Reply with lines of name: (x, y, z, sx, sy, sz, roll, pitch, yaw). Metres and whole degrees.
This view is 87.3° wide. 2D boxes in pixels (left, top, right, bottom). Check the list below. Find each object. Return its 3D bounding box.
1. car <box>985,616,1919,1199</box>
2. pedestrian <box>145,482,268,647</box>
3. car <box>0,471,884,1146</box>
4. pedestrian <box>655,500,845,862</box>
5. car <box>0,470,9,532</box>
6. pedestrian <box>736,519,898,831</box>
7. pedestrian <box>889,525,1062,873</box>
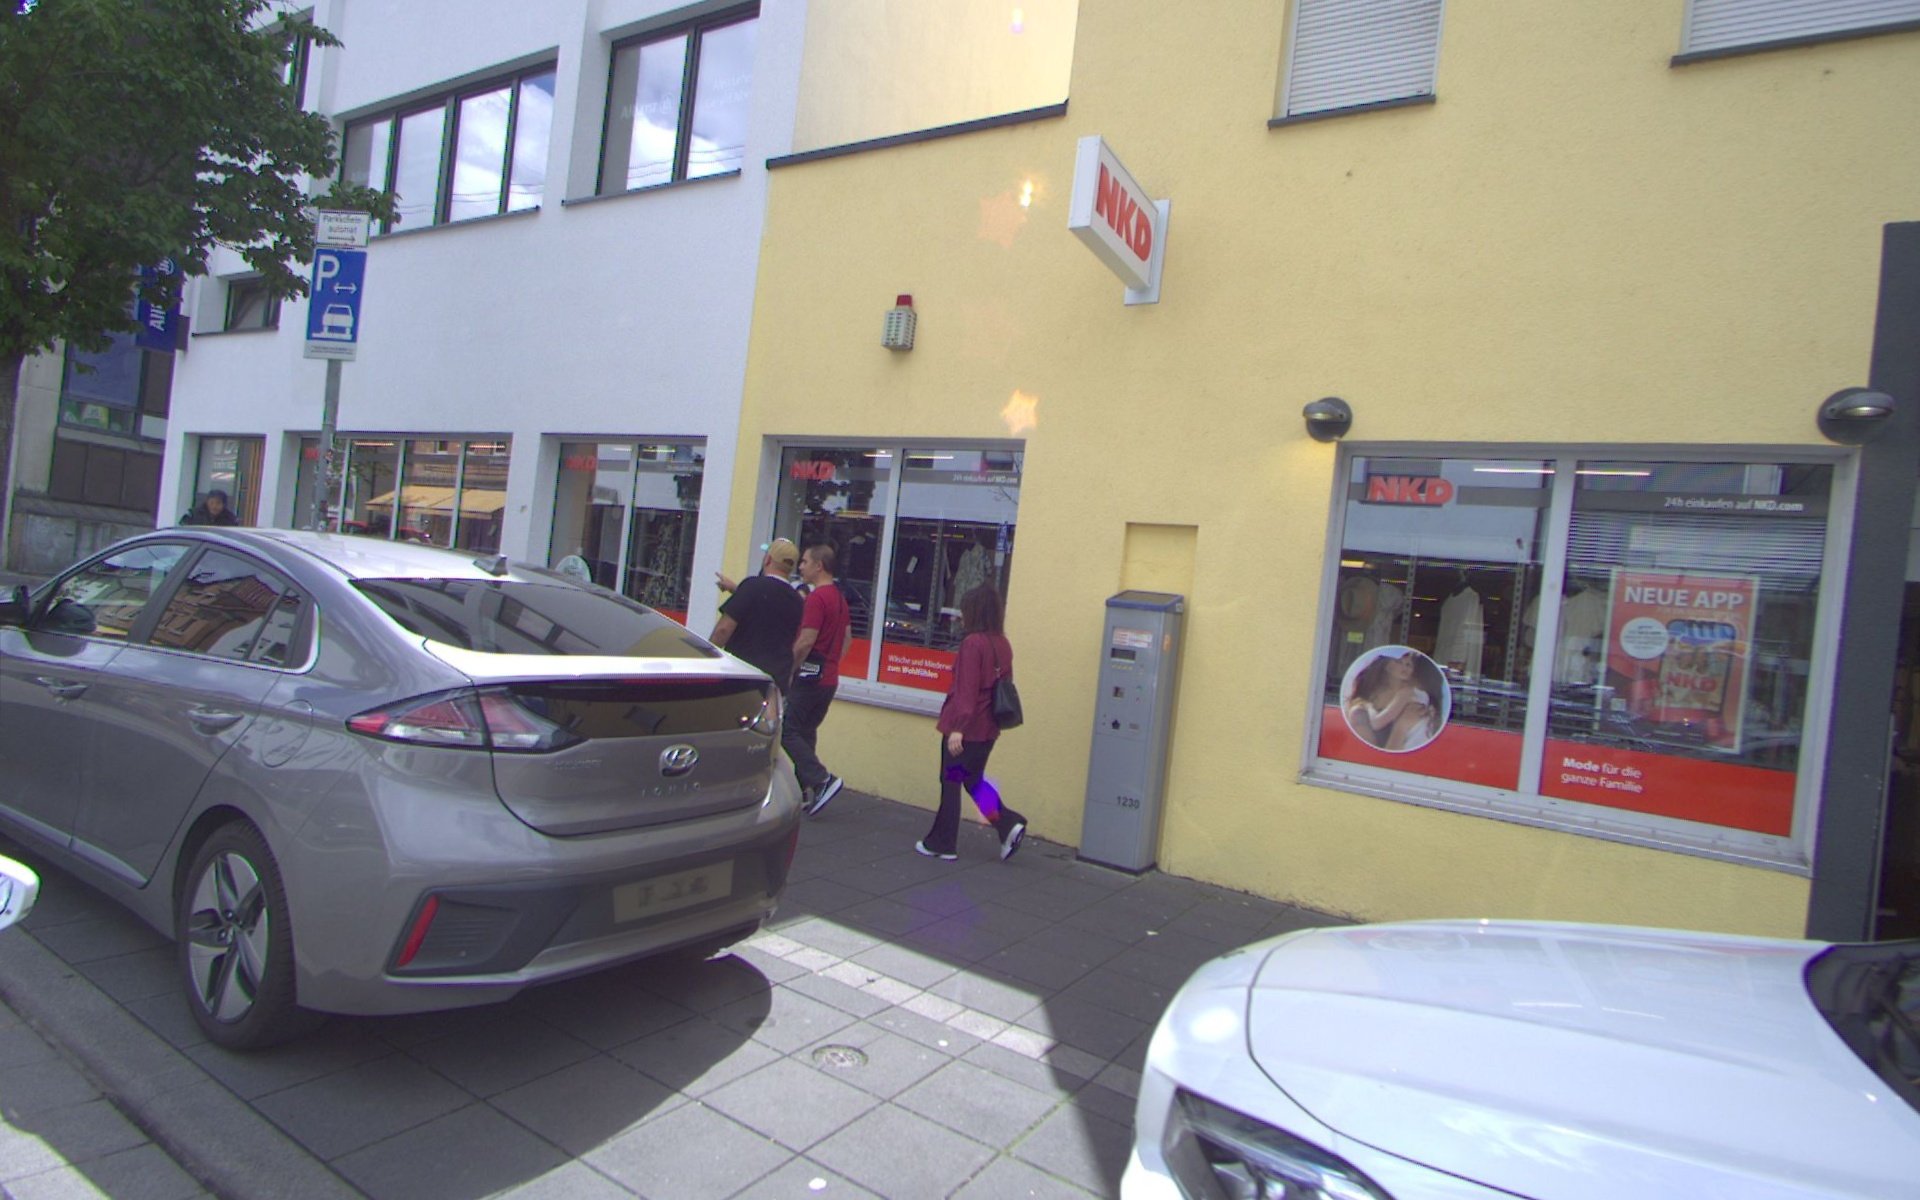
car: (2.524, 1.065, 0.977, 4.877, 1.492, 1.633, 6, -2, 33)
pedestrian: (-8.640, -0.396, 11.546, 0.744, 1.757, 0.742, 6, -2, 32)
car: (-2.627, 0.409, 4.176, 4.282, 1.492, 1.725, 6, -2, 31)
pedestrian: (-1.159, 0.434, 5.600, 0.566, 1.862, 0.589, 6, -1, 32)
car: (-10.066, -0.533, 8.643, 4.042, 1.594, 1.724, 6, -2, 33)
pedestrian: (-0.908, 0.467, 6.449, 0.566, 1.862, 0.589, 6, -1, 32)
pedestrian: (0.102, 0.553, 5.840, 0.566, 1.862, 0.589, 6, -1, 32)
